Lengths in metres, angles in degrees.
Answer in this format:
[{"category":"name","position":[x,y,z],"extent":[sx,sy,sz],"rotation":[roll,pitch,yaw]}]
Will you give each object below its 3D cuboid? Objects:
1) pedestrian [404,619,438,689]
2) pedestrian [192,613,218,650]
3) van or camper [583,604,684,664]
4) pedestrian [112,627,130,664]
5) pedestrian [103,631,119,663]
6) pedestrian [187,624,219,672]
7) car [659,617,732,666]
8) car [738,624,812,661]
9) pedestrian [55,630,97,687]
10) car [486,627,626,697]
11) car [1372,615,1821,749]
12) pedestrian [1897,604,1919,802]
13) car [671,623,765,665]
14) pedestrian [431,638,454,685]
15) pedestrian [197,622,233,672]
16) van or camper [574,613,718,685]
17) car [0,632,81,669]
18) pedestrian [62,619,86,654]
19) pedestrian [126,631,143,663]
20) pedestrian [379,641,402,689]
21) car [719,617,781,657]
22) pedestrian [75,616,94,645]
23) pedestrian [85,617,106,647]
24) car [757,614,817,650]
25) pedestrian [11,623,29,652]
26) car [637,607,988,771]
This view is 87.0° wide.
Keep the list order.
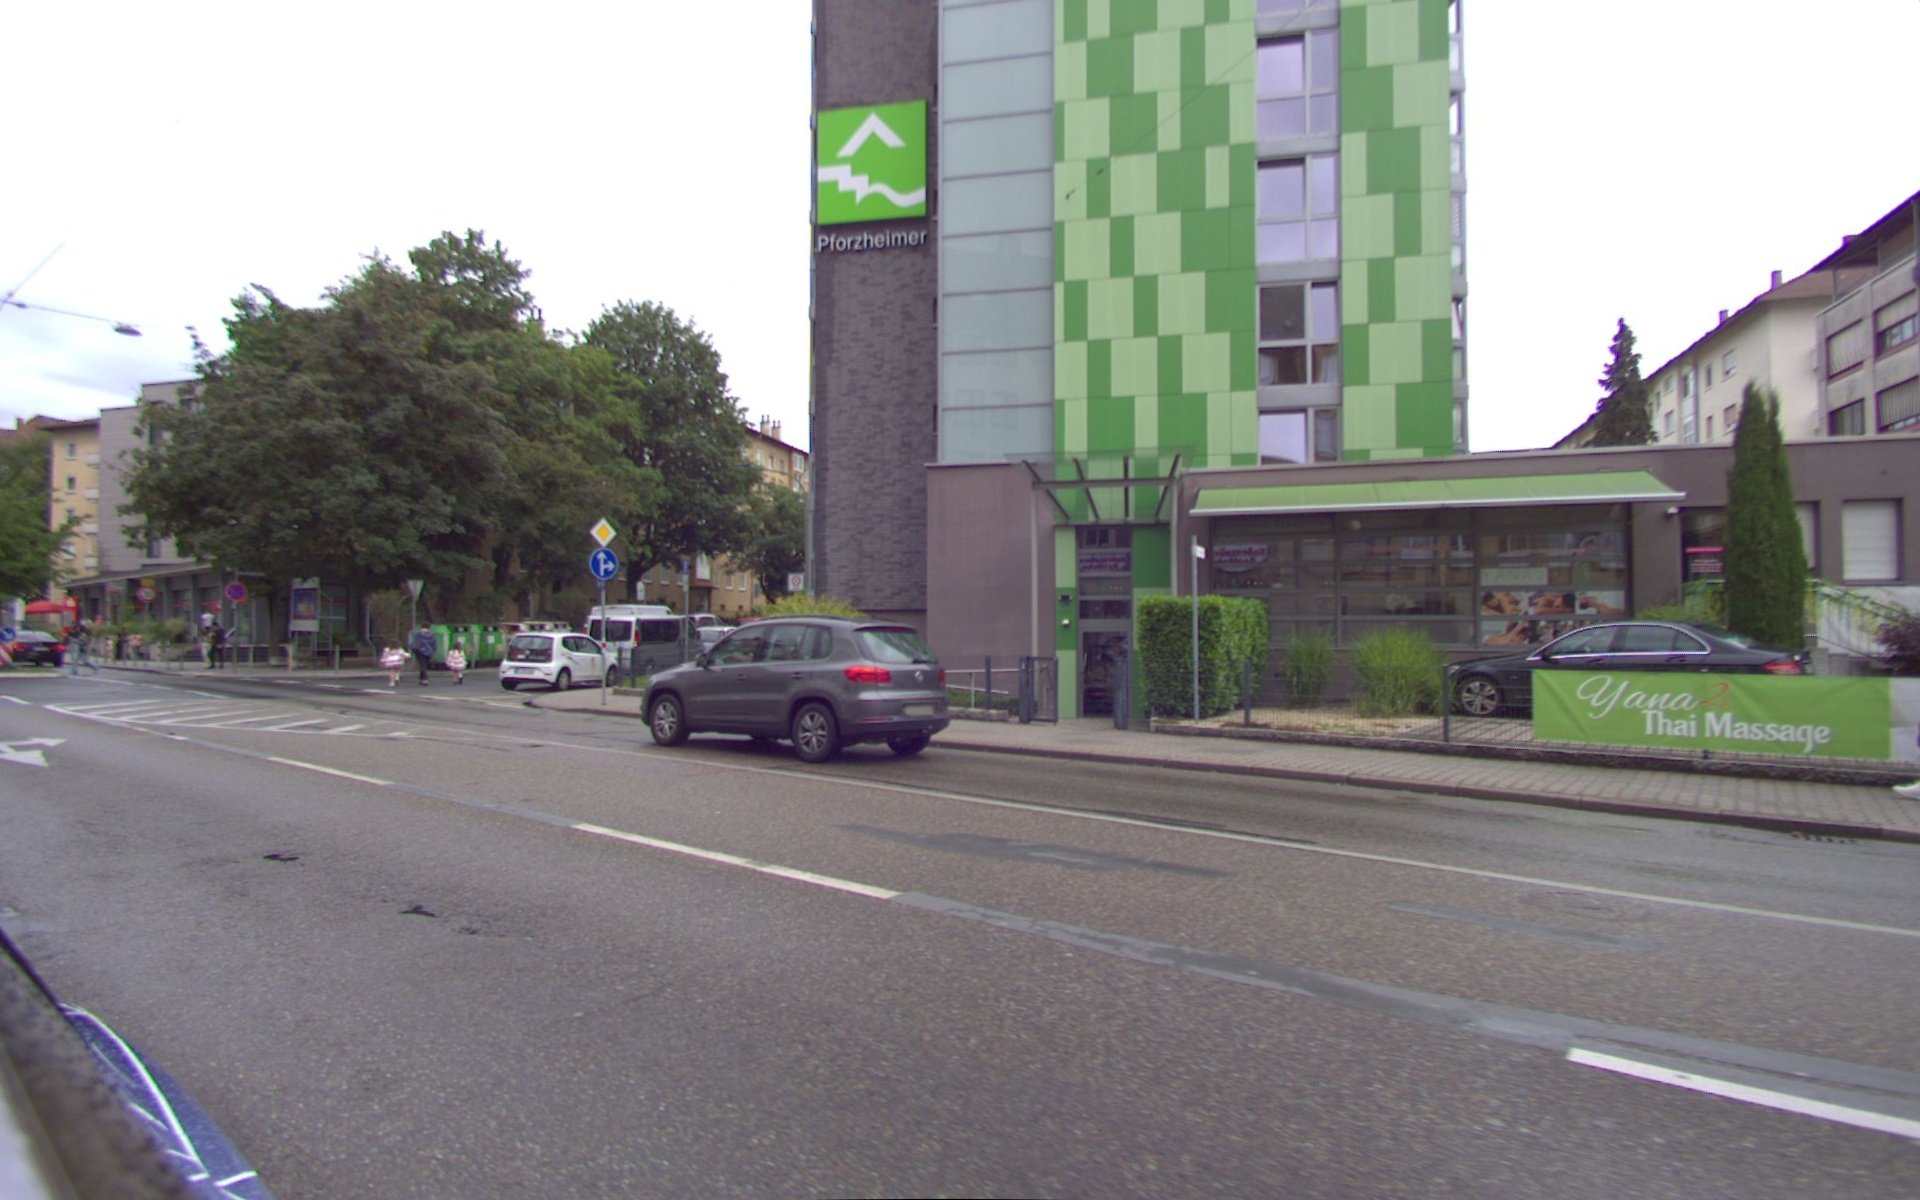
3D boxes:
[{"category":"pedestrian","position":[-13.962,1.390,26.217],"extent":[0.579,1.775,0.569],"rotation":[-2,-3,32]},{"category":"pedestrian","position":[-38.038,1.604,50.991],"extent":[0.714,1.840,0.721],"rotation":[-2,-2,10]},{"category":"van or camper","position":[-13.700,1.375,42.789],"extent":[2.186,2.283,4.605],"rotation":[-2,0,9]},{"category":"pedestrian","position":[-38.522,2.076,46.448],"extent":[0.551,1.686,0.493],"rotation":[-2,-2,35]},{"category":"pedestrian","position":[-39.108,2.162,46.609],"extent":[0.480,1.421,0.429],"rotation":[-2,-2,35]},{"category":"pedestrian","position":[-28.648,1.813,38.303],"extent":[0.714,1.772,0.654],"rotation":[-1,-2,14]},{"category":"car","position":[-12.747,2.025,49.034],"extent":[1.978,2.273,3.987],"rotation":[-1,-3,10]},{"category":"car","position":[-7.686,1.756,42.363],"extent":[1.677,1.475,3.984],"rotation":[-1,-2,12]},{"category":"pedestrian","position":[-29.197,1.918,33.440],"extent":[0.847,1.840,0.720],"rotation":[-2,-2,16]},{"category":"car","position":[-10.443,1.550,26.449],"extent":[1.723,1.581,3.575],"rotation":[0,0,12]},{"category":"car","position":[8.150,0.978,13.318],"extent":[1.970,1.450,4.655],"rotation":[2,-3,-44]},{"category":"pedestrian","position":[8.640,0.872,8.505],"extent":[0.742,1.698,0.749],"rotation":[0,-3,-6]},{"category":"car","position":[-8.837,1.616,37.247],"extent":[1.980,1.454,3.713],"rotation":[-1,-2,12]},{"category":"pedestrian","position":[-13.625,1.614,26.666],"extent":[0.357,1.207,0.406],"rotation":[-2,-3,32]},{"category":"pedestrian","position":[-27.920,1.756,37.941],"extent":[0.690,1.859,0.855],"rotation":[-1,-2,24]},{"category":"van or camper","position":[-9.608,1.456,31.429],"extent":[1.981,2.029,4.944],"rotation":[-2,-1,14]},{"category":"car","position":[-38.059,2.047,41.678],"extent":[4.494,1.436,1.994],"rotation":[-1,-2,38]},{"category":"pedestrian","position":[-47.748,1.968,54.527],"extent":[0.716,1.840,0.719],"rotation":[-2,-2,19]},{"category":"pedestrian","position":[-38.194,2.167,46.824],"extent":[0.529,1.484,0.456],"rotation":[-2,-2,35]},{"category":"pedestrian","position":[-14.424,1.649,25.639],"extent":[0.310,1.207,0.406],"rotation":[-2,-3,32]},{"category":"car","position":[-11.412,1.964,55.161],"extent":[1.978,2.029,3.987],"rotation":[-1,0,10]},{"category":"pedestrian","position":[-51.729,1.823,59.776],"extent":[0.712,1.691,0.707],"rotation":[-2,-2,38]},{"category":"pedestrian","position":[-50.582,1.878,59.209],"extent":[0.701,1.691,0.803],"rotation":[0,-2,-24]},{"category":"car","position":[-10.294,1.923,60.469],"extent":[1.983,2.029,3.977],"rotation":[-1,-3,17]},{"category":"pedestrian","position":[-59.205,2.371,63.760],"extent":[0.867,1.833,0.585],"rotation":[-2,-2,30]},{"category":"car","position":[-1.866,0.991,12.315],"extent":[4.050,1.672,1.930],"rotation":[-1,-4,37]}]
